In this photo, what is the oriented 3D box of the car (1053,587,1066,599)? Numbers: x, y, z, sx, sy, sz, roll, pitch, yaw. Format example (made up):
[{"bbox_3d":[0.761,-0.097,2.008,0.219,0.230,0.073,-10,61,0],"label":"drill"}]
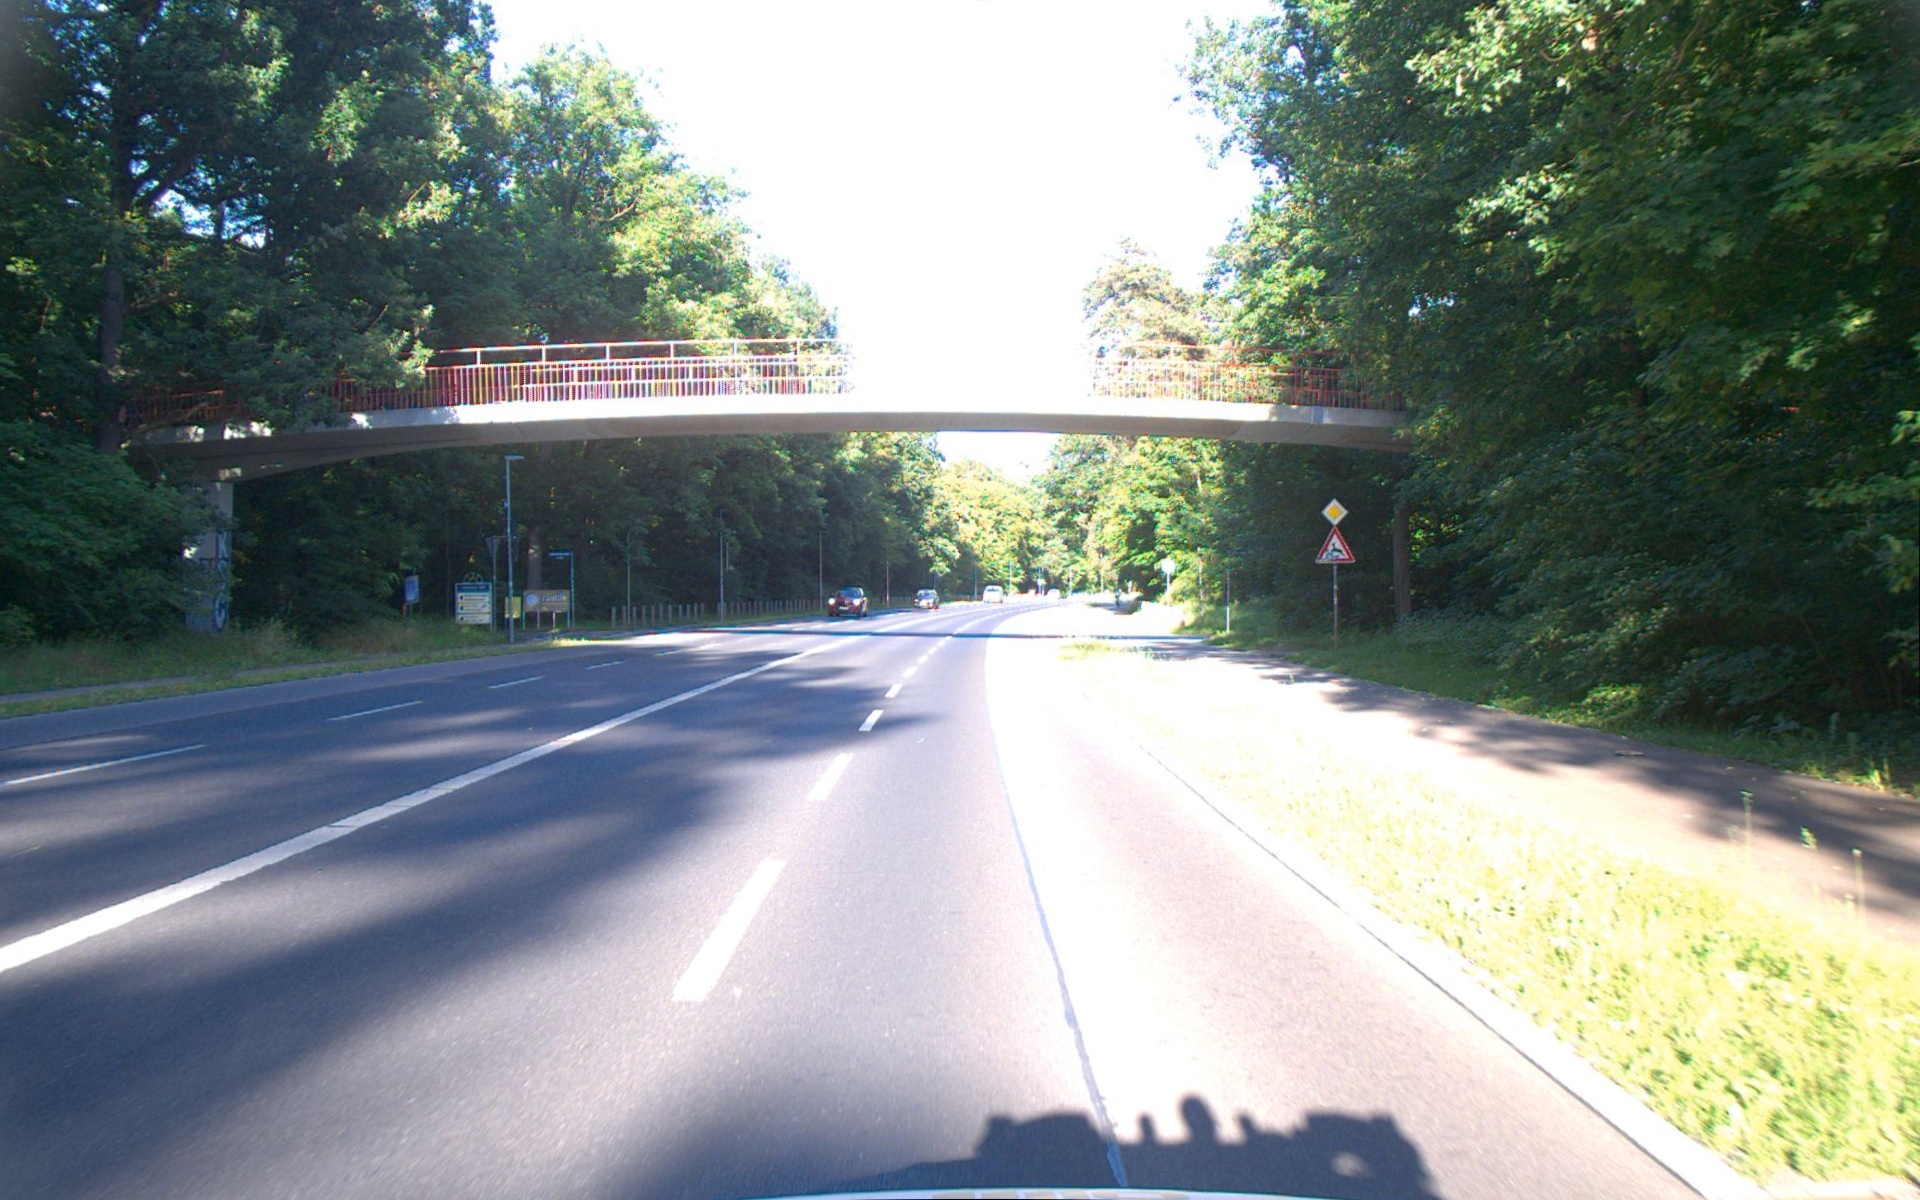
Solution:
[{"bbox_3d":[15.048,-1.030,251.111,1.746,1.739,4.003,0,1,6],"label":"car"}]

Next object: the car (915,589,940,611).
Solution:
[{"bbox_3d":[-2.534,0.008,129.603,1.686,1.601,4.179,2,1,3],"label":"car"}]

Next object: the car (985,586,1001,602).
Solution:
[{"bbox_3d":[3.633,-0.627,181.824,1.670,1.739,4.001,0,1,2],"label":"car"}]

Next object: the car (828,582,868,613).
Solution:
[{"bbox_3d":[-6.037,-0.163,89.512,1.725,1.610,4.170,1,1,2],"label":"car"}]
